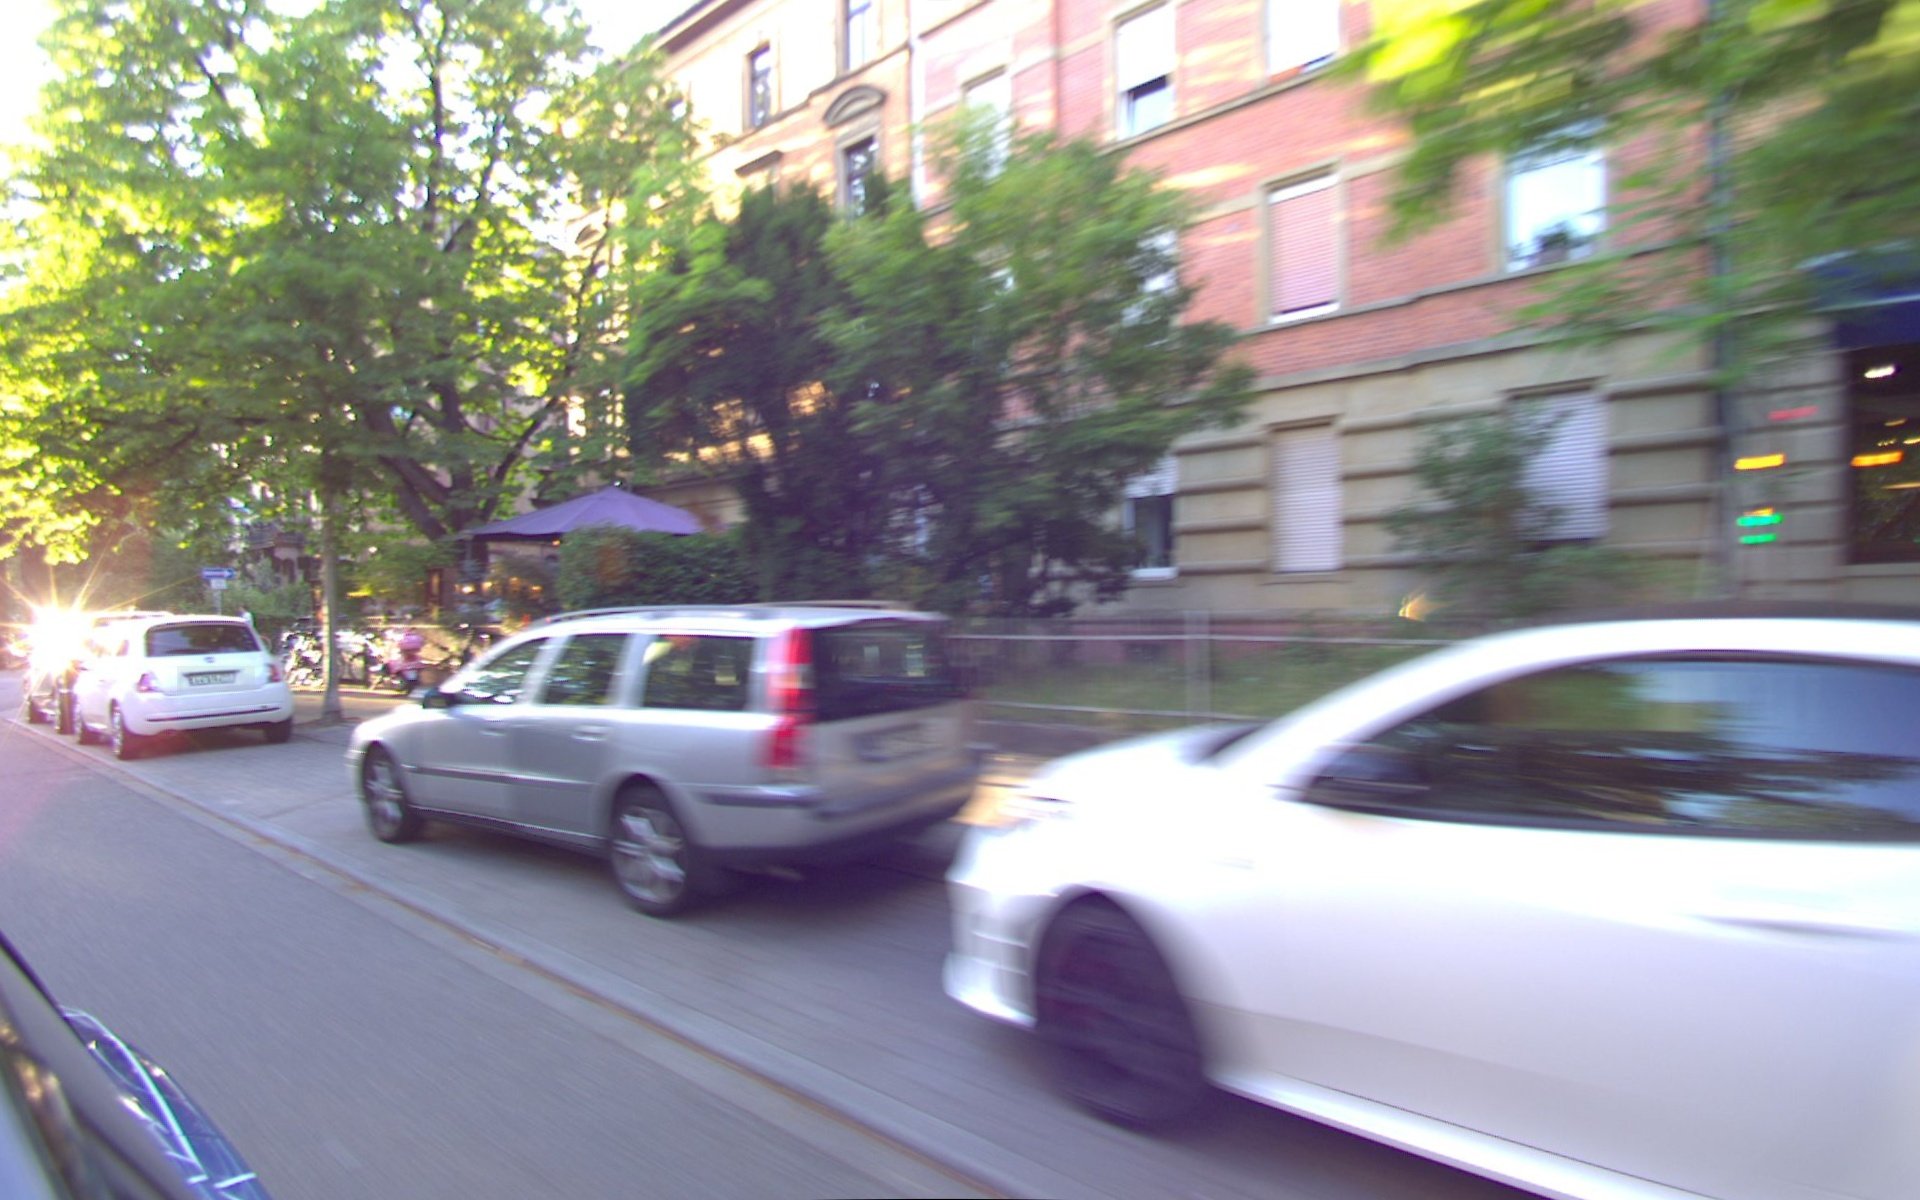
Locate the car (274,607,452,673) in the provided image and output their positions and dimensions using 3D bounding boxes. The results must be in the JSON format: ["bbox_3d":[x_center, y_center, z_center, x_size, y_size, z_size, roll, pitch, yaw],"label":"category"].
[{"bbox_3d":[-15.470,1.013,26.454,1.622,1.557,3.830,-2,-2,21],"label":"car"}]

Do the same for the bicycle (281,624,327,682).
[{"bbox_3d":[-14.313,1.138,22.062,1.746,1.152,0.387,0,4,44],"label":"bicycle"}]

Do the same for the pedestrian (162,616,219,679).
[{"bbox_3d":[-20.332,1.250,26.748,1.043,1.643,0.684,-1,-1,15],"label":"pedestrian"}]

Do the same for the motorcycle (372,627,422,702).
[{"bbox_3d":[-9.716,1.079,17.441,0.386,1.194,1.960,-2,1,-39],"label":"motorcycle"}]

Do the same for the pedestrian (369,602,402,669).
[{"bbox_3d":[-12.915,0.798,22.756,0.458,1.462,0.428,-2,-2,10],"label":"pedestrian"}]

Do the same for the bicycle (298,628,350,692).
[{"bbox_3d":[-12.635,1.166,20.082,1.957,1.194,0.387,-1,2,45],"label":"bicycle"}]

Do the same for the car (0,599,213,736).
[{"bbox_3d":[-12.679,0.928,14.889,3.840,1.690,1.649,-2,1,37],"label":"car"}]

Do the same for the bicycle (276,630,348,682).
[{"bbox_3d":[-14.552,1.231,22.762,0.387,1.107,1.827,-2,-2,2],"label":"bicycle"}]

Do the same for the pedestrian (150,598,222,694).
[{"bbox_3d":[-16.889,0.989,22.094,1.002,2.029,0.863,-1,-1,21],"label":"pedestrian"}]

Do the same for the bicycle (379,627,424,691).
[{"bbox_3d":[-10.917,1.114,19.749,0.386,1.152,1.960,-3,1,-39],"label":"bicycle"}]

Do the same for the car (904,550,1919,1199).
[{"bbox_3d":[1.827,0.636,2.576,3.883,1.446,1.587,-2,1,41],"label":"car"}]

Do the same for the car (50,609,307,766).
[{"bbox_3d":[-9.455,0.948,12.150,3.707,1.504,1.648,-2,1,40],"label":"car"}]

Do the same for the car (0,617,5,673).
[{"bbox_3d":[-31.830,1.464,32.014,4.588,1.700,1.847,-2,0,40],"label":"car"}]

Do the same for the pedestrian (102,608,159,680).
[{"bbox_3d":[-21.682,1.143,26.463,1.000,1.849,0.684,-1,-1,15],"label":"pedestrian"}]

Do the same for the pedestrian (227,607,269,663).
[{"bbox_3d":[-24.062,1.167,34.196,0.778,1.837,0.916,2,2,30],"label":"pedestrian"}]

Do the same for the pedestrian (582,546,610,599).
[{"bbox_3d":[-10.069,-0.752,28.001,0.461,1.423,0.519,-3,-2,27],"label":"pedestrian"}]

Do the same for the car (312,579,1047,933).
[{"bbox_3d":[-1.926,0.681,6.160,4.590,1.422,1.824,-2,0,36],"label":"car"}]
